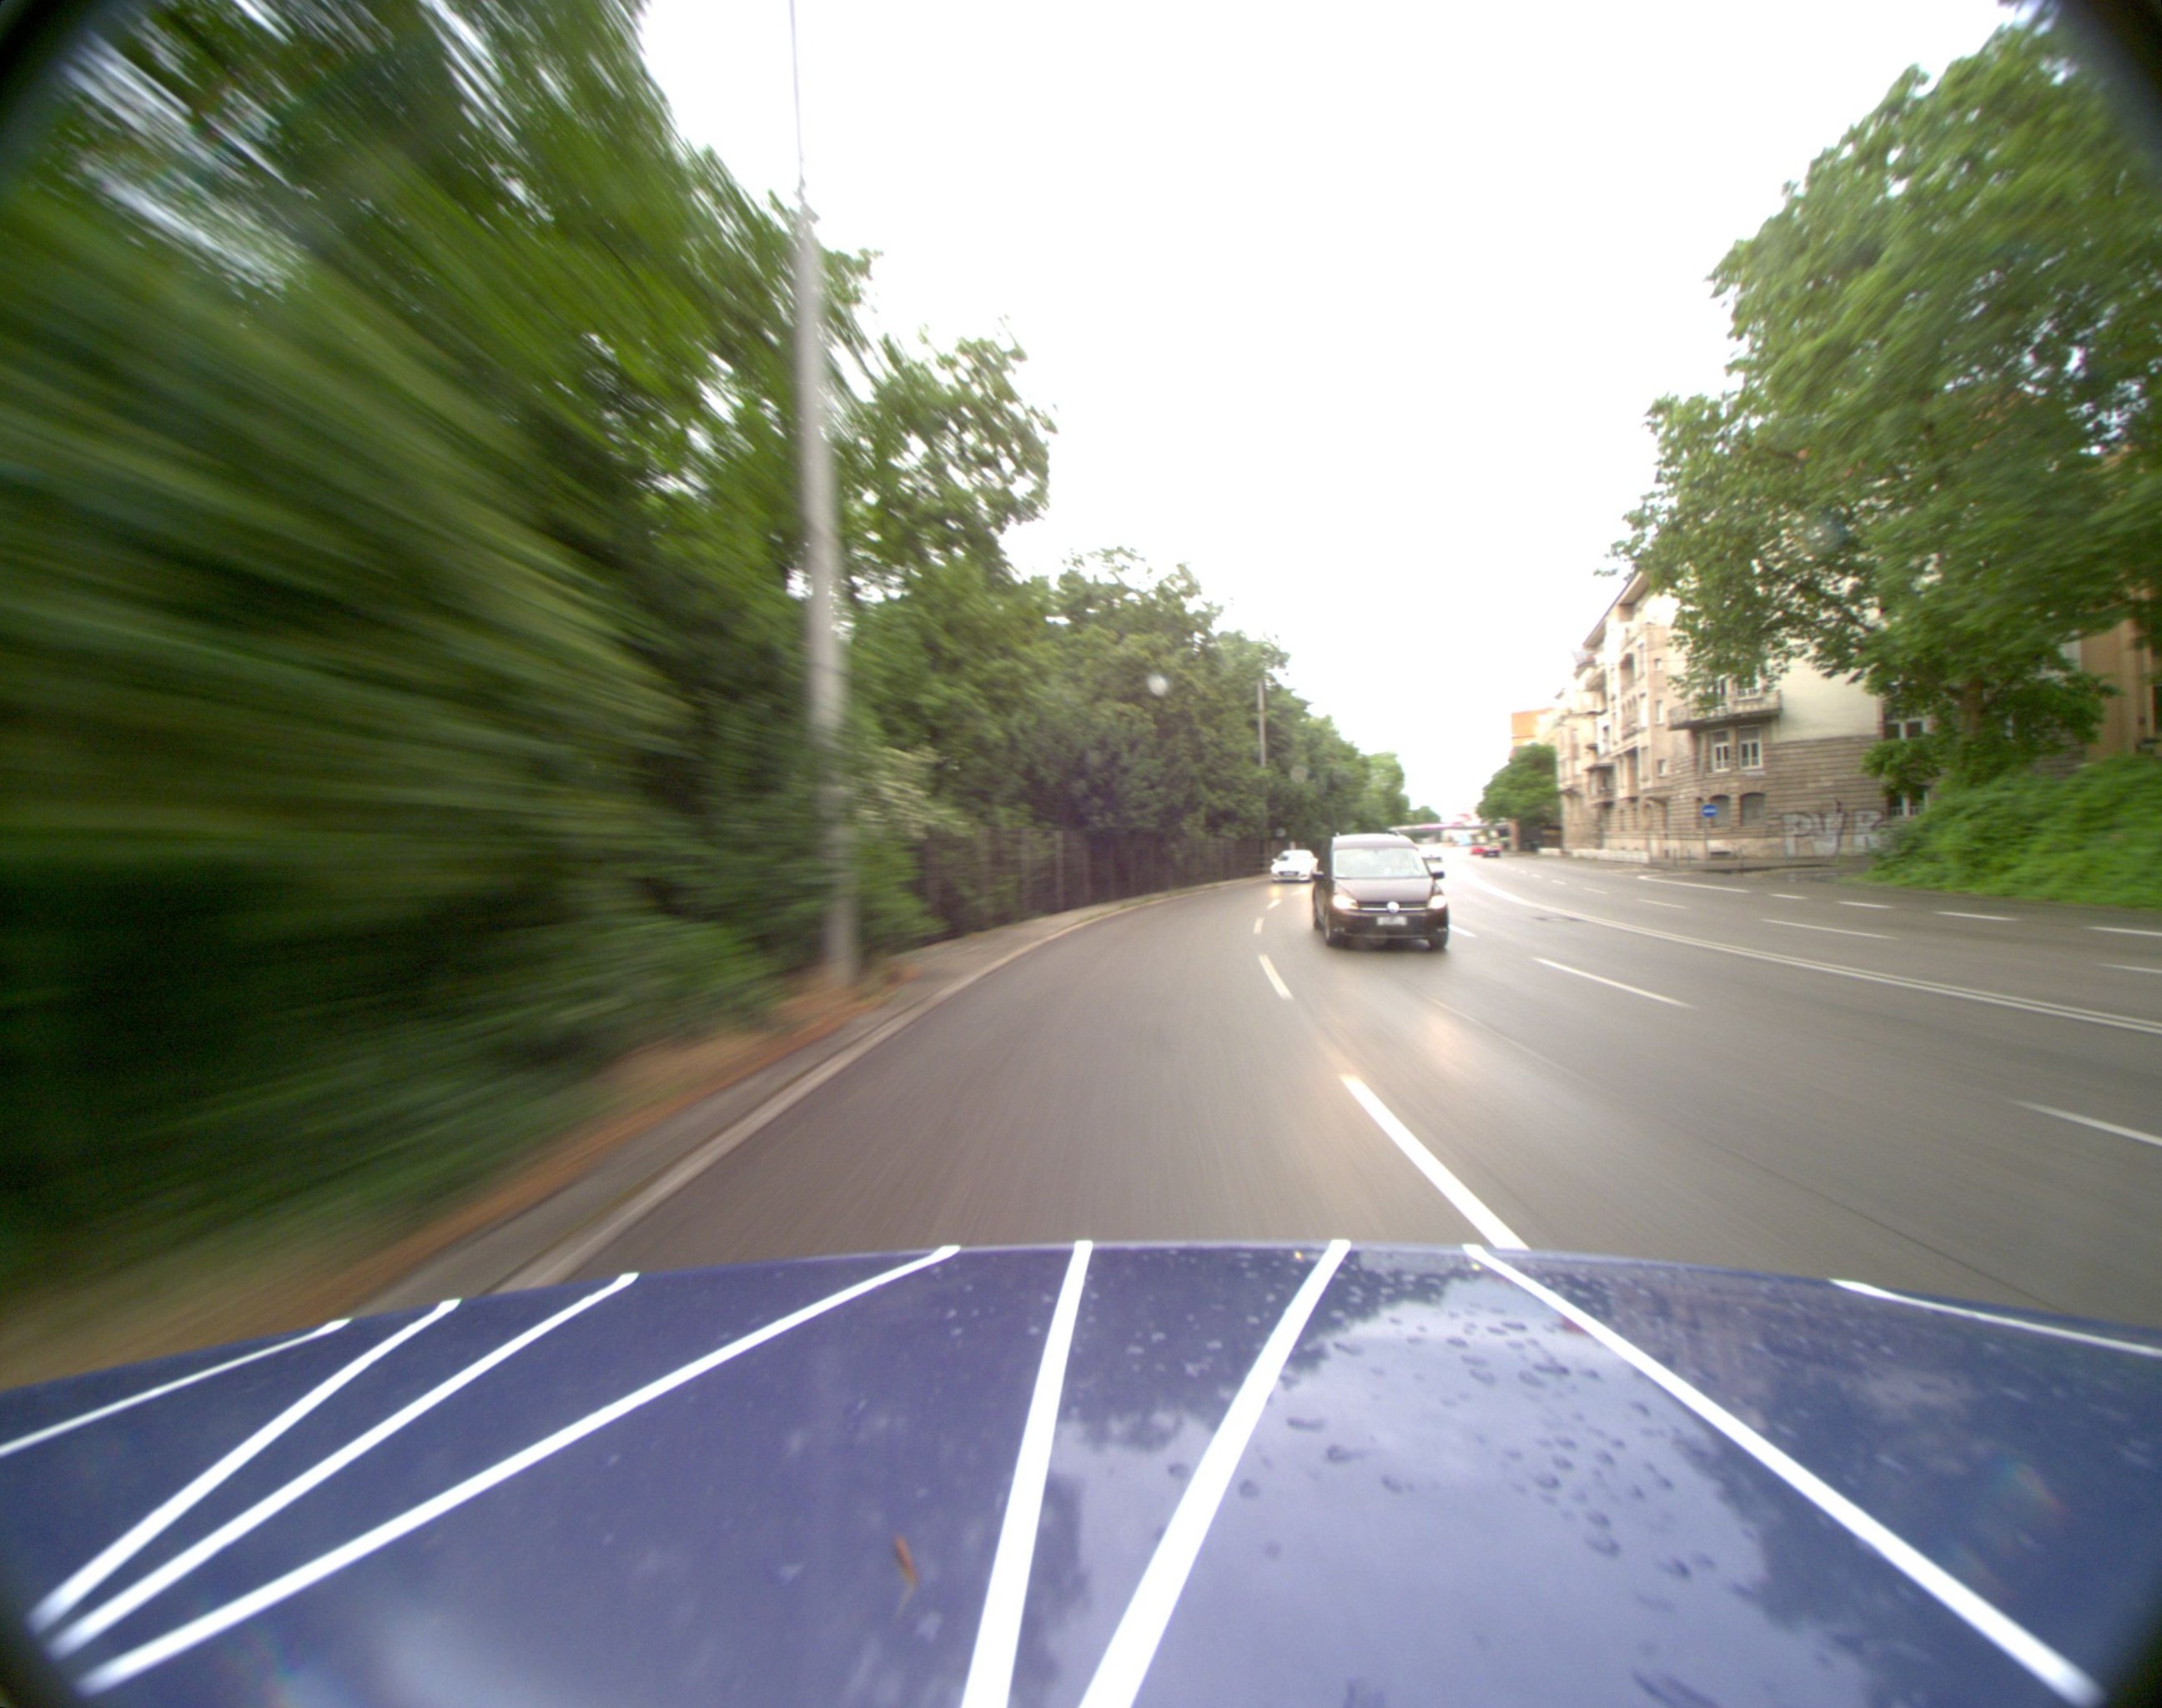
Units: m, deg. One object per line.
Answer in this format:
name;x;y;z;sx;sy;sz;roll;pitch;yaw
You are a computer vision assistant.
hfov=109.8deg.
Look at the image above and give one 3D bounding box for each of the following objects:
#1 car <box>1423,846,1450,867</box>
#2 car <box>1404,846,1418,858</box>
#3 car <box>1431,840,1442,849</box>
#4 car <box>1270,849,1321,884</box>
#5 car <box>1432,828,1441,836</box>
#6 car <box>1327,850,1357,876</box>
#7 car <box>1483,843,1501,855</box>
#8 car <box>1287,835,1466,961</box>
car;33.613;0.210;71.757;1.699;1.787;3.809;-4;0;32
car;55.641;-0.307;128.123;1.875;1.761;4.006;-4;0;25
car;77.317;-2.153;165.215;1.875;1.761;4.006;-4;0;25
car;10.150;0.547;35.785;1.728;1.430;4.006;-3;0;23
car;85.749;-5.356;183.363;1.821;1.602;4.006;-4;0;26
car;18.673;0.618;54.487;1.799;1.586;4.004;-4;0;16
car;47.684;-0.627;88.198;1.702;1.331;3.922;-2;0;27
car;4.738;0.635;12.829;1.841;1.780;4.002;-1;0;7
